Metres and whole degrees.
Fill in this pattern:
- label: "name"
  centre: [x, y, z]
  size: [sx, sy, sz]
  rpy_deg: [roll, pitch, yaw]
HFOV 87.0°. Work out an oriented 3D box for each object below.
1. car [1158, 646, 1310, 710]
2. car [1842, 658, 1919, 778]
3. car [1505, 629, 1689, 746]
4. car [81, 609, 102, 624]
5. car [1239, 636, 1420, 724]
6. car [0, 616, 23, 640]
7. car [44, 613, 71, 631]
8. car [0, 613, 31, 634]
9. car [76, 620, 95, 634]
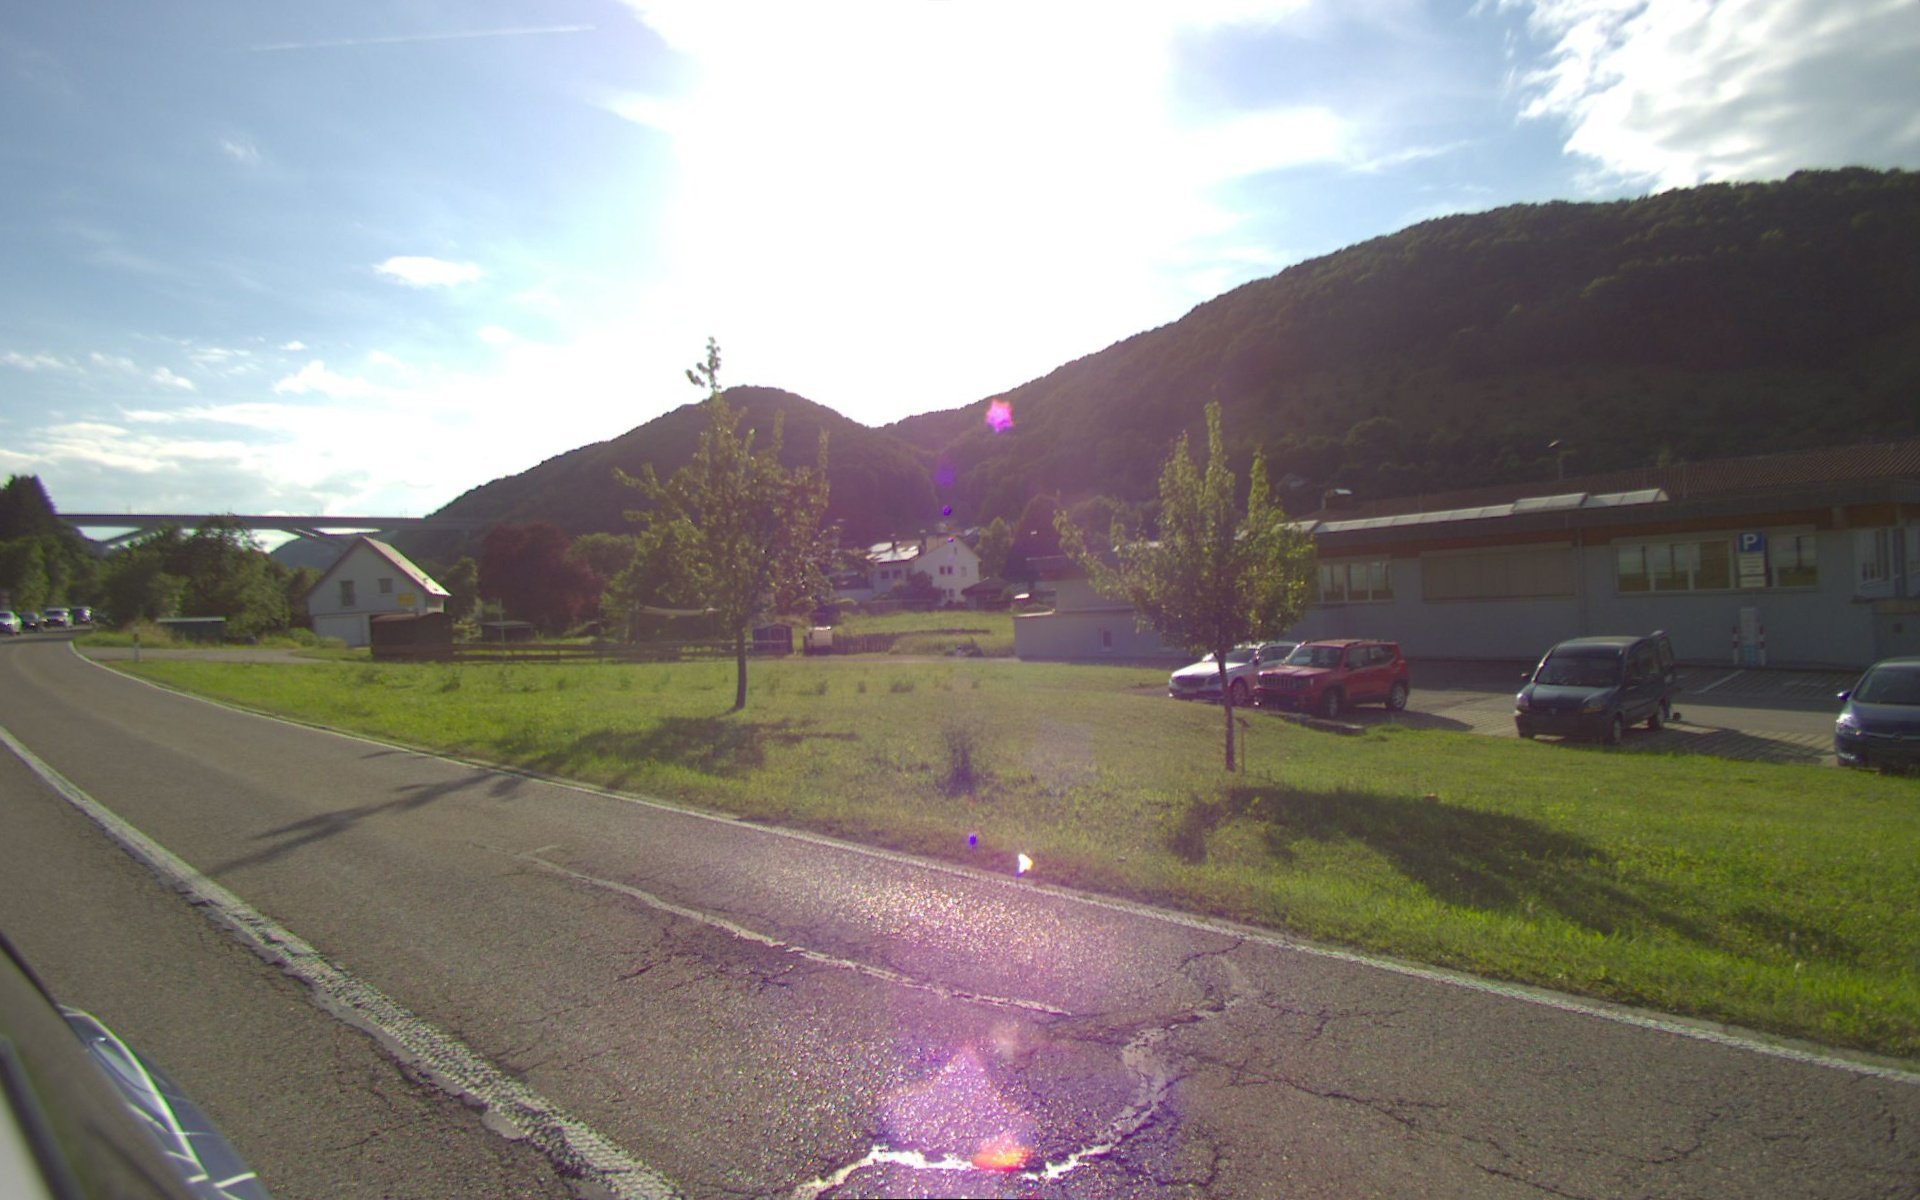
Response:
- label: "car"
  centre: [7.072, 1.941, 25.990]
  size: [3.836, 1.379, 1.856]
  rpy_deg: [0, 0, -39]
- label: "car"
  centre: [14.732, 1.699, 15.194]
  size: [3.958, 1.463, 1.687]
  rpy_deg: [-1, -2, -42]
- label: "car"
  centre: [12.372, 1.553, 19.510]
  size: [4.930, 1.807, 1.687]
  rpy_deg: [-1, 0, -42]
- label: "car"
  centre: [-89.998, 1.687, 104.876]
  size: [1.606, 1.490, 3.685]
  rpy_deg: [-1, 0, -40]
- label: "car"
  centre: [8.597, 1.758, 23.419]
  size: [4.264, 1.682, 1.852]
  rpy_deg: [-1, 0, -35]
- label: "car"
  centre: [-62.516, 1.806, 66.126]
  size: [3.679, 1.490, 1.608]
  rpy_deg: [-1, 0, 43]
- label: "car"
  centre: [-81.303, 1.964, 91.140]
  size: [1.607, 1.490, 3.682]
  rpy_deg: [-1, 0, -45]
- label: "car"
  centre: [-72.147, 1.798, 77.280]
  size: [1.606, 1.490, 3.685]
  rpy_deg: [-1, 0, -40]
- label: "car"
  centre: [-98.460, 3.062, 113.978]
  size: [1.606, 1.490, 3.685]
  rpy_deg: [-1, 0, -40]
